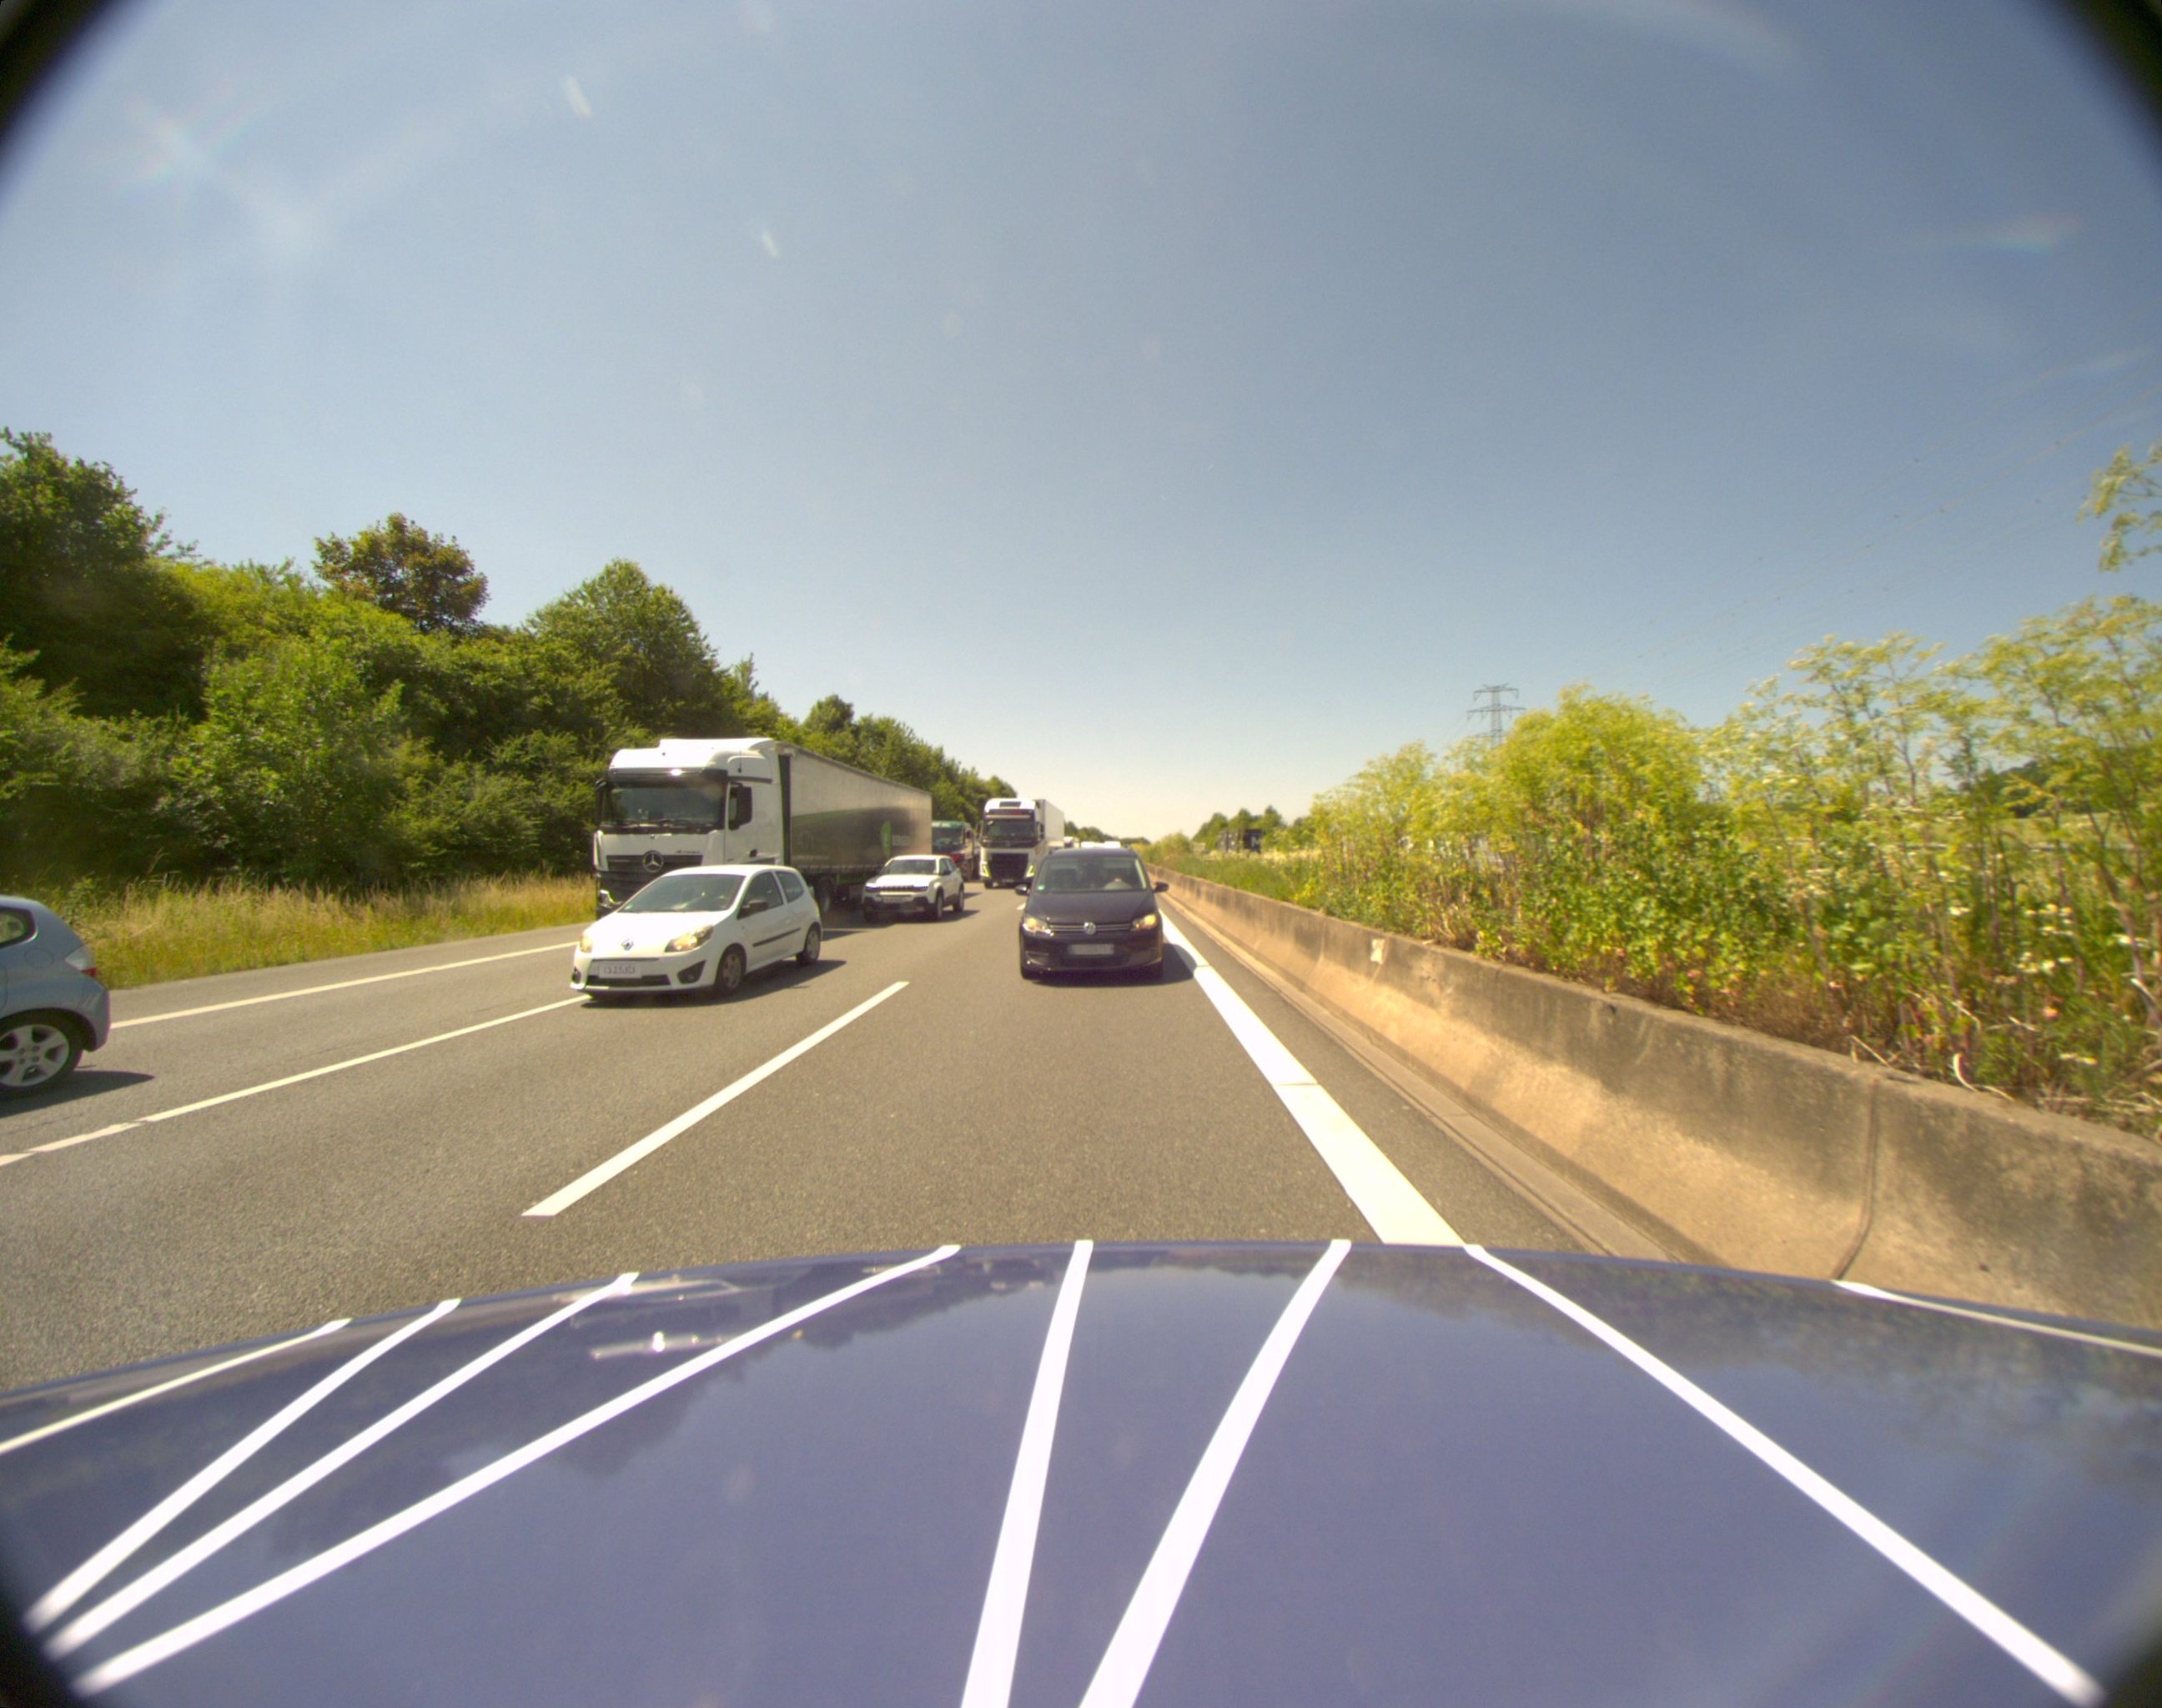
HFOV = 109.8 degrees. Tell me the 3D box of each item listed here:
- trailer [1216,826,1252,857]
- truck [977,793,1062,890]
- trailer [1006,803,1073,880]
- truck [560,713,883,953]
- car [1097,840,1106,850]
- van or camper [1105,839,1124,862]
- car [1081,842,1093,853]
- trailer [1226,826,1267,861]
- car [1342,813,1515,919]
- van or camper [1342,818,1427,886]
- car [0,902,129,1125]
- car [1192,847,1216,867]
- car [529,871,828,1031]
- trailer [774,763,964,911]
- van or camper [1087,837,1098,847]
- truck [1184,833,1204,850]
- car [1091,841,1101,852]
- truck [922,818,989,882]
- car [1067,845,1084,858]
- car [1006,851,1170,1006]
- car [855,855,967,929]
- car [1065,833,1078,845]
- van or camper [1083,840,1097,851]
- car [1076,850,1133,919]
[{"bbox_3d":[19.245,-1.586,96.074,3.132,3.737,7.869,-1,1,1],"label":"trailer"},{"bbox_3d":[-2.677,-0.589,35.775,2.750,3.972,8.361,-1,1,3],"label":"truck"},{"bbox_3d":[-2.223,-0.718,44.038,2.776,3.951,9.156,-1,1,3],"label":"trailer"},{"bbox_3d":[-7.403,-0.408,17.528,2.879,4.133,8.475,-1,1,3],"label":"truck"},{"bbox_3d":[4.682,-2.083,173.077,1.998,2.302,4.229,-1,1,3],"label":"car"},{"bbox_3d":[3.632,-0.431,82.026,1.956,2.368,4.037,-2,1,3],"label":"van or camper"},{"bbox_3d":[0.989,-1.049,119.953,1.652,1.636,4.000,-1,1,3],"label":"car"},{"bbox_3d":[19.078,-1.199,88.167,3.190,3.740,8.200,-1,1,2],"label":"trailer"},{"bbox_3d":[7.969,0.225,17.991,1.998,2.134,4.600,-2,1,1],"label":"car"},{"bbox_3d":[13.506,-0.093,34.131,2.053,2.843,4.649,-1,1,2],"label":"van or camper"},{"bbox_3d":[-8.139,1.113,3.828,1.666,1.453,3.922,0,1,2],"label":"car"},{"bbox_3d":[10.625,0.240,65.991,1.585,1.744,3.688,-1,1,2],"label":"car"},{"bbox_3d":[-4.659,1.016,9.507,1.609,1.426,3.809,0,1,2],"label":"car"},{"bbox_3d":[-6.932,-0.560,27.522,2.879,4.133,12.075,-1,1,2],"label":"trailer"},{"bbox_3d":[2.981,-3.098,198.945,2.745,2.680,5.363,-1,1,3],"label":"van or camper"},{"bbox_3d":[21.973,-2.427,148.419,2.771,3.269,11.820,-1,1,3],"label":"truck"},{"bbox_3d":[3.041,-1.512,154.633,1.998,2.302,4.229,-1,1,1],"label":"car"},{"bbox_3d":[-6.608,-0.237,40.754,2.299,3.128,5.675,-1,1,3],"label":"truck"},{"bbox_3d":[-0.611,-0.300,83.258,1.650,1.336,3.381,-1,1,3],"label":"car"},{"bbox_3d":[0.188,0.800,10.867,1.758,1.571,5.291,-1,1,2],"label":"car"},{"bbox_3d":[-4.077,0.855,18.847,1.748,1.549,3.884,0,1,2],"label":"car"},{"bbox_3d":[-1.595,-2.518,131.546,1.998,2.002,4.000,-1,1,2],"label":"car"},{"bbox_3d":[1.679,-1.511,135.676,2.189,2.018,4.364,-1,1,3],"label":"van or camper"},{"bbox_3d":[0.664,0.757,20.395,1.357,1.630,2.994,-2,1,3],"label":"car"}]
